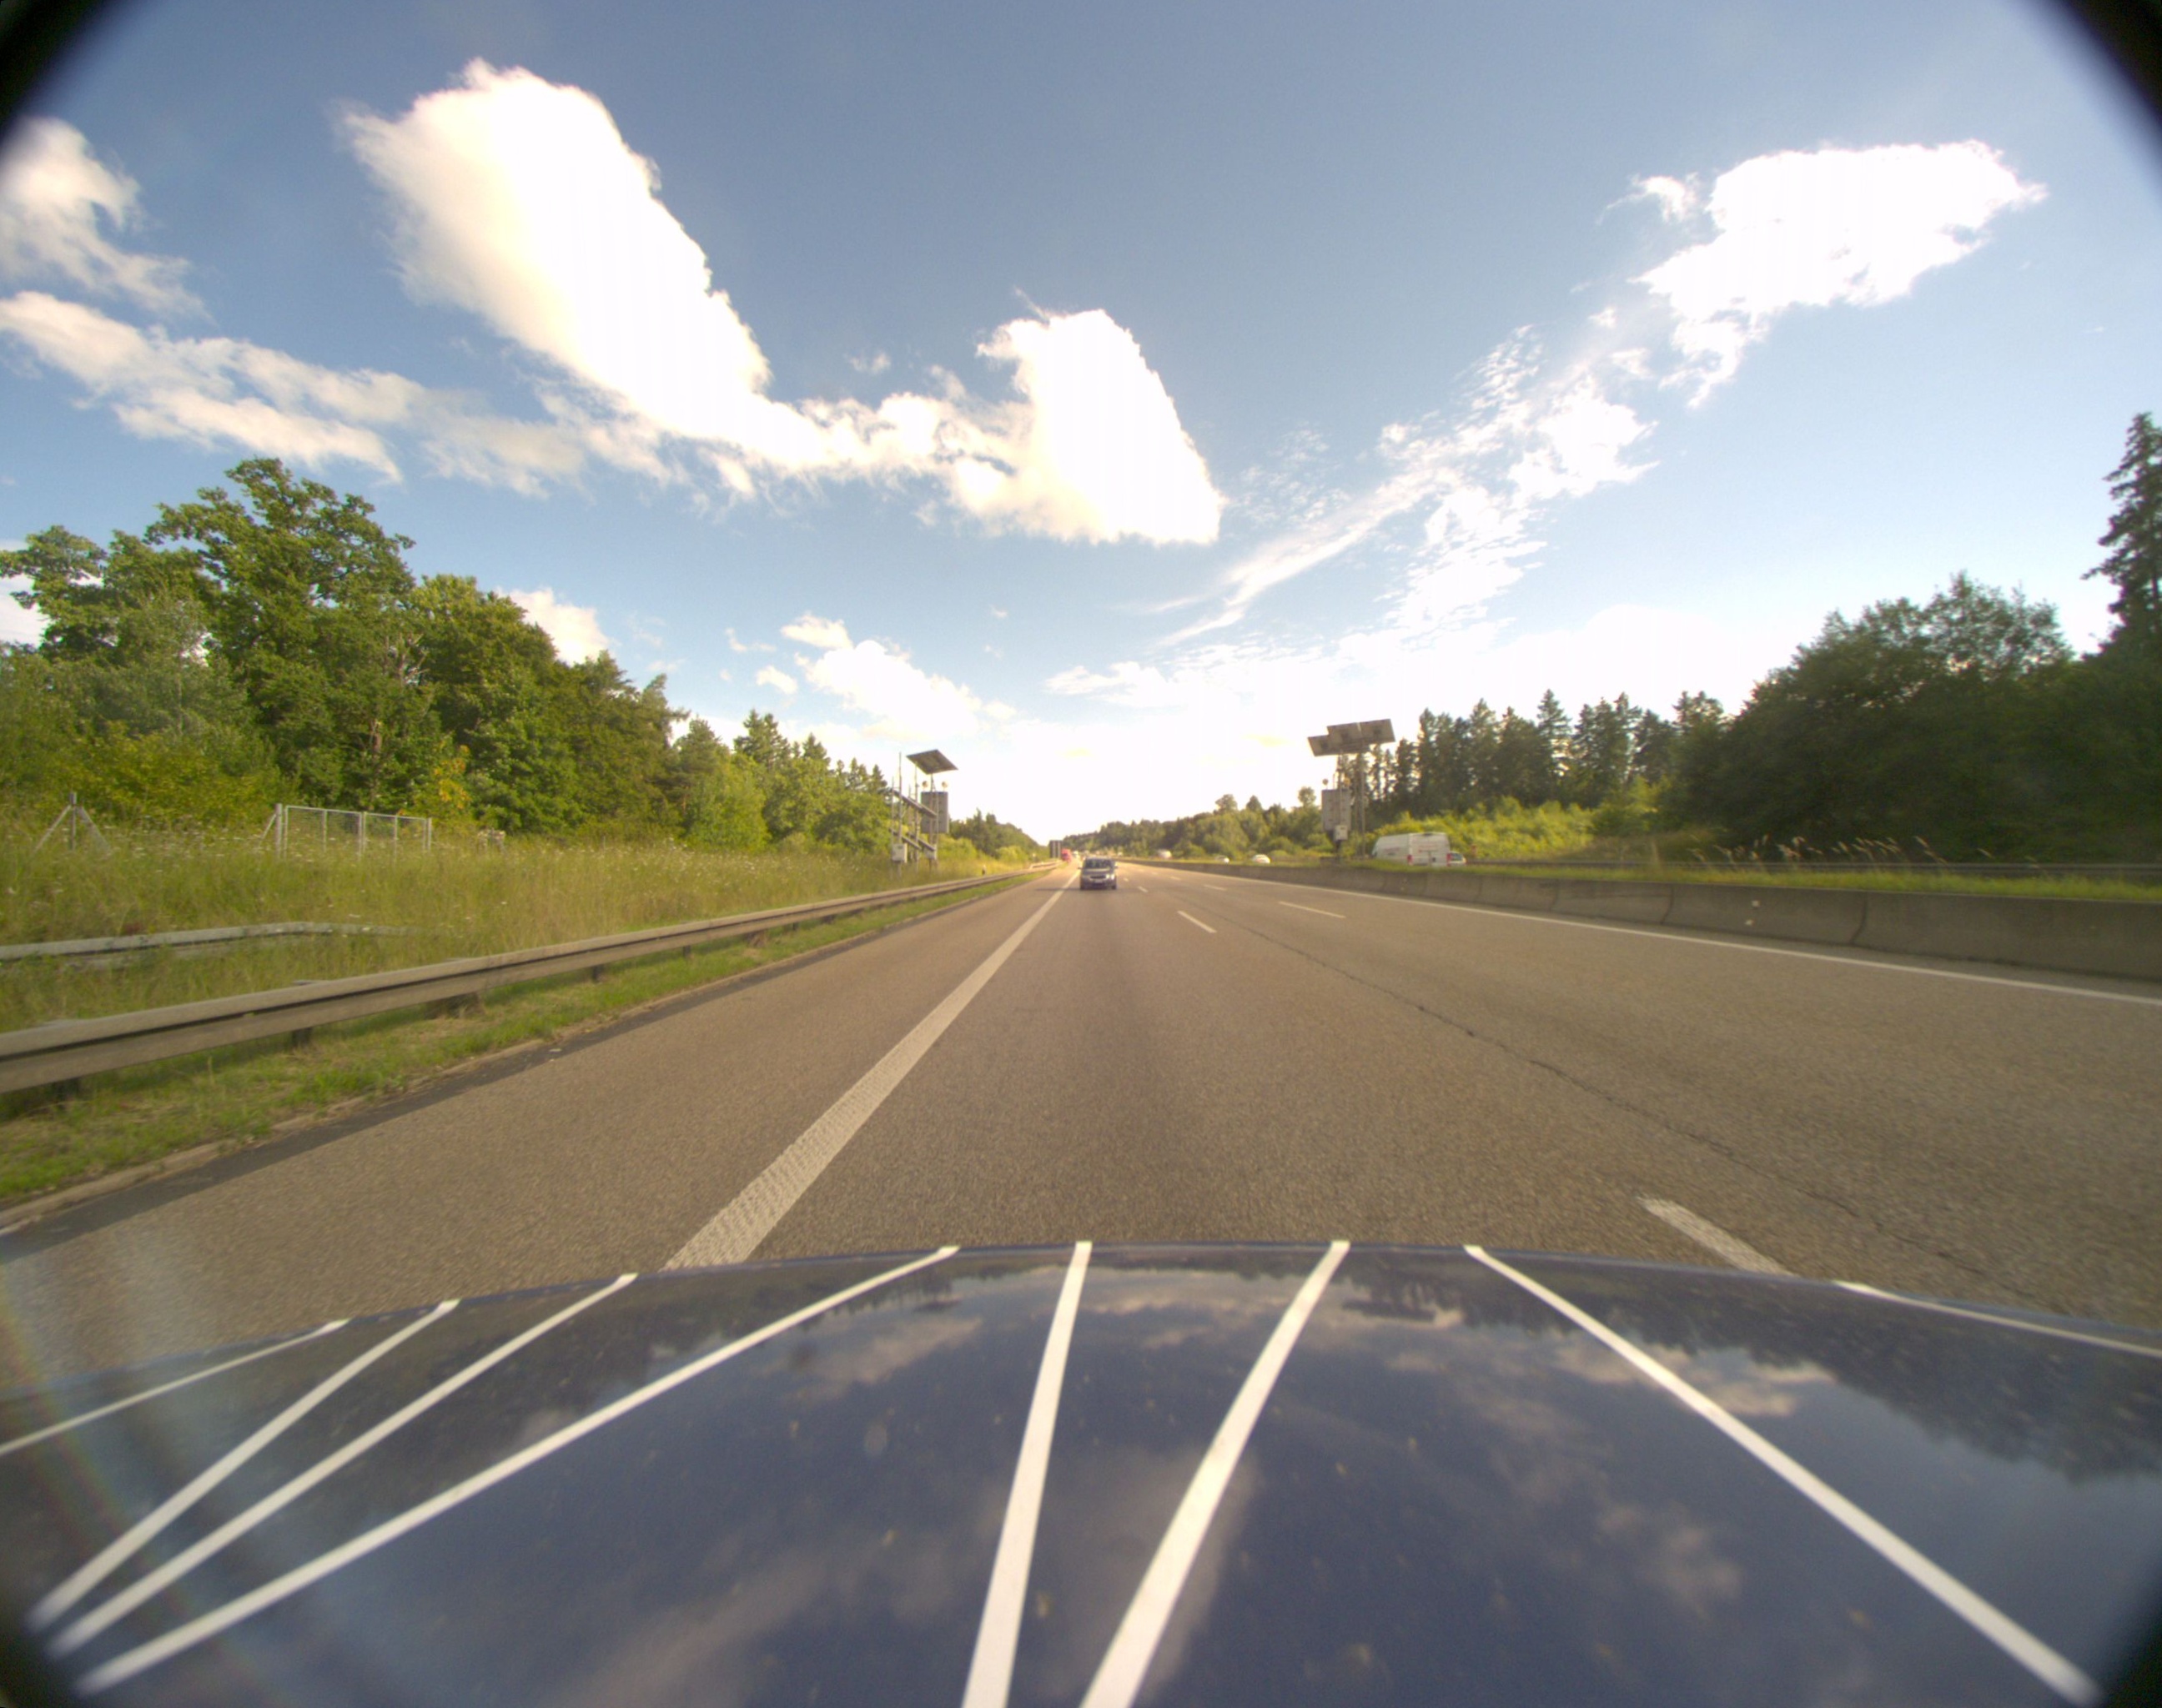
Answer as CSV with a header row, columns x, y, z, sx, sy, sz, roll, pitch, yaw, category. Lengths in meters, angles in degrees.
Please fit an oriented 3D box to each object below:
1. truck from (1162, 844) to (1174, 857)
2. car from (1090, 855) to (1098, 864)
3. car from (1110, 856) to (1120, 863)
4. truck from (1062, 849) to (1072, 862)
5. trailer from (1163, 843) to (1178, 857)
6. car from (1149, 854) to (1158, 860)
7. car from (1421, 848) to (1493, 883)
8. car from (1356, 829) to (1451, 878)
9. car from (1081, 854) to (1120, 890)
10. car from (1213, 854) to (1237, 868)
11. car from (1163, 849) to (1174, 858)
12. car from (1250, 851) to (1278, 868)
x,y,z,sx,sy,sz,roll,pitch,yaw,category
26.466,-1.113,231.349,3.122,3.815,7.123,-1,0,1,truck
3.275,1.423,192.484,1.998,2.124,4.000,-1,0,1,car
5.825,0.929,130.684,1.749,1.276,4.199,-1,0,2,car
-4.230,0.375,232.717,2.880,3.871,8.959,-2,0,1,truck
26.334,-1.086,223.600,3.132,3.815,12.209,-1,0,1,trailer
18.277,0.663,191.066,1.998,1.444,4.000,-1,0,2,car
21.192,0.615,43.071,1.929,1.795,4.493,-1,0,1,car
16.821,-0.039,40.036,2.585,2.332,5.829,-1,0,1,car
0.972,0.837,37.493,1.742,1.608,4.083,-1,0,2,car
22.016,1.034,116.587,2.585,2.126,5.966,-1,0,1,car
22.246,-0.067,192.654,2.114,2.299,6.724,-2,0,1,car
25.405,0.733,105.647,2.585,2.126,5.966,-1,0,1,car
